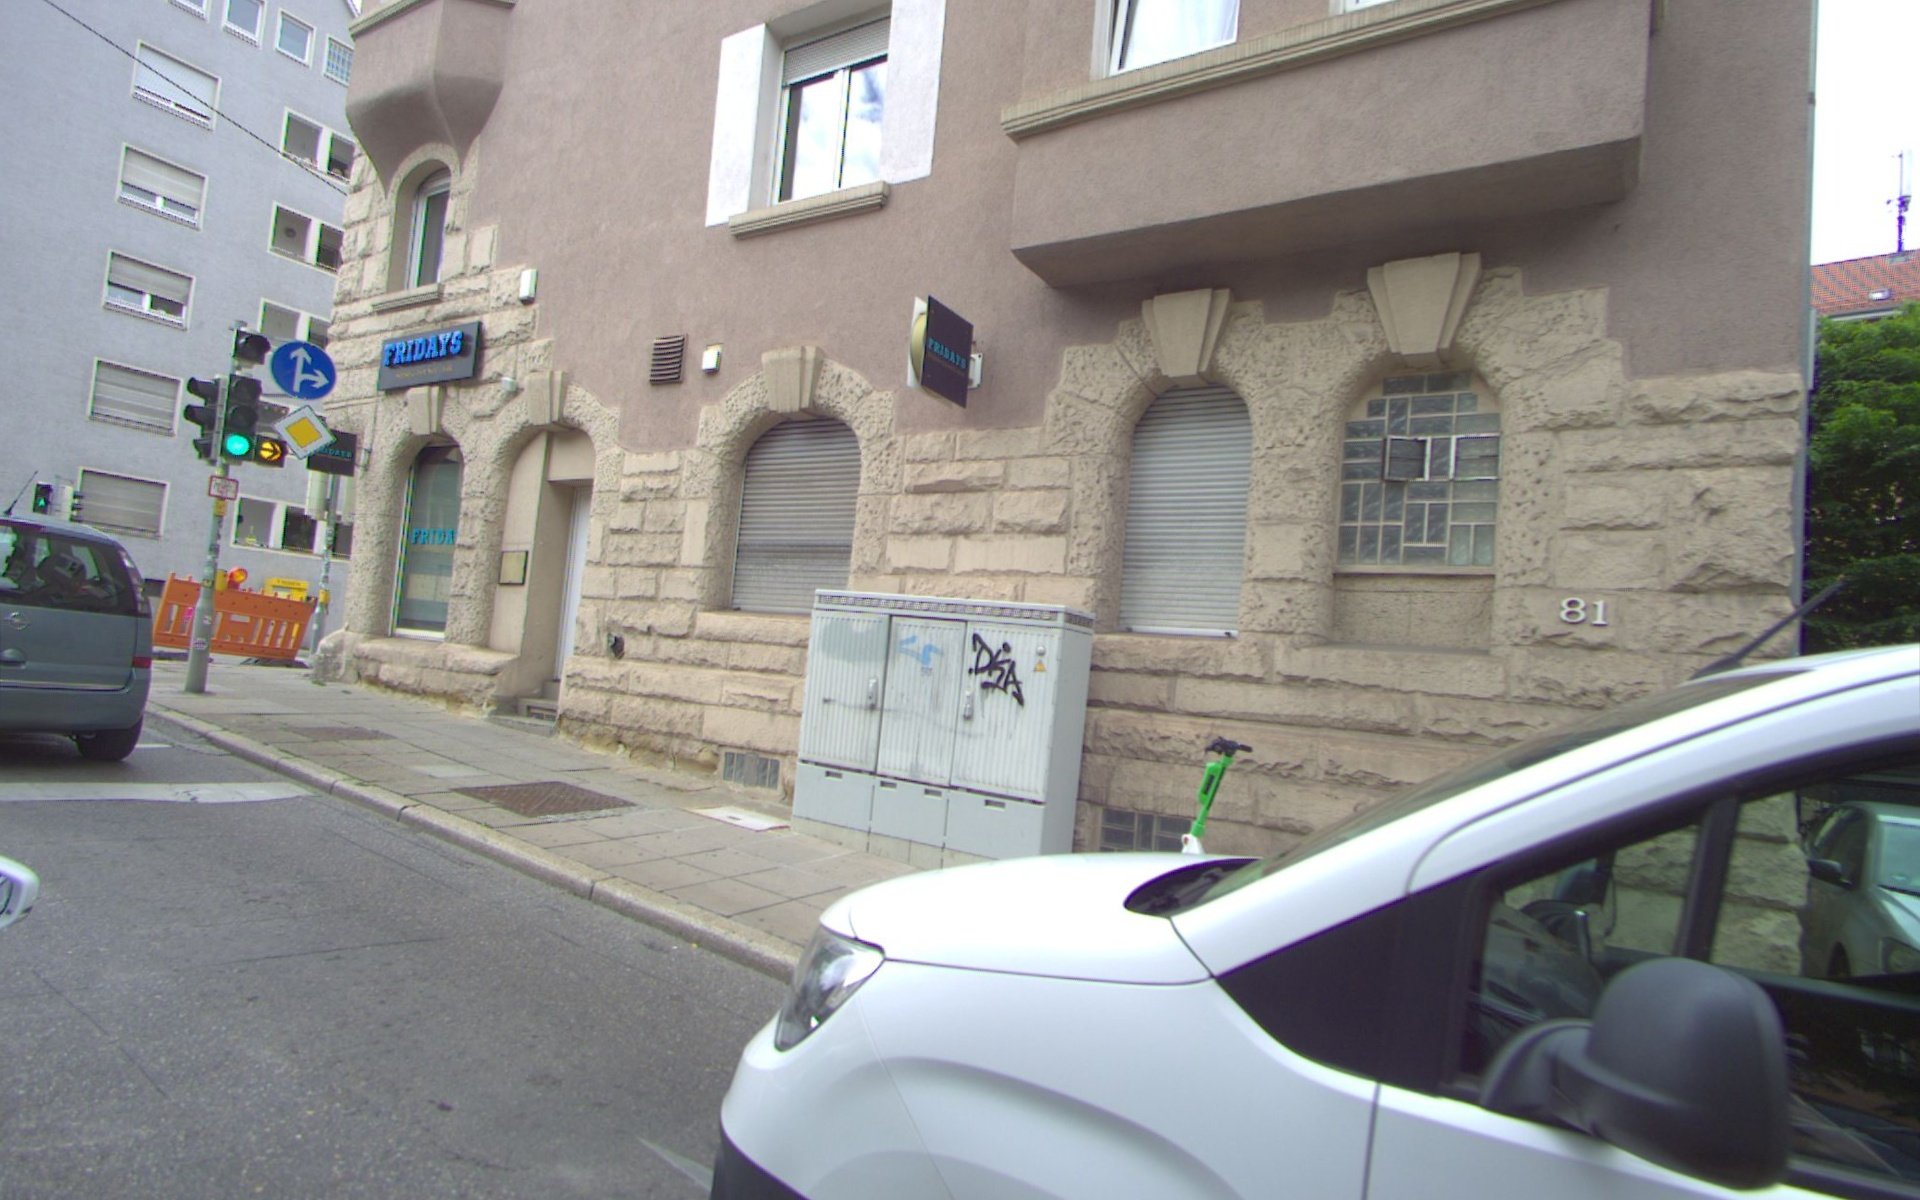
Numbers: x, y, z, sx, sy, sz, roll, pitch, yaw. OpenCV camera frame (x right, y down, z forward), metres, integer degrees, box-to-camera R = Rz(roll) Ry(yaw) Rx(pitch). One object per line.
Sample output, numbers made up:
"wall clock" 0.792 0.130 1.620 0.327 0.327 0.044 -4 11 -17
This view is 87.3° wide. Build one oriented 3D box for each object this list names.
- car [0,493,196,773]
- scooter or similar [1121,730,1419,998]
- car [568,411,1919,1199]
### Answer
"car" -7.136 0.046 6.897 3.608 1.613 1.634 6 -5 32
"scooter or similar" 1.713 1.397 5.639 1.400 1.117 0.527 6 -1 34
"car" 1.850 0.922 1.443 4.598 1.793 1.983 6 -6 30
